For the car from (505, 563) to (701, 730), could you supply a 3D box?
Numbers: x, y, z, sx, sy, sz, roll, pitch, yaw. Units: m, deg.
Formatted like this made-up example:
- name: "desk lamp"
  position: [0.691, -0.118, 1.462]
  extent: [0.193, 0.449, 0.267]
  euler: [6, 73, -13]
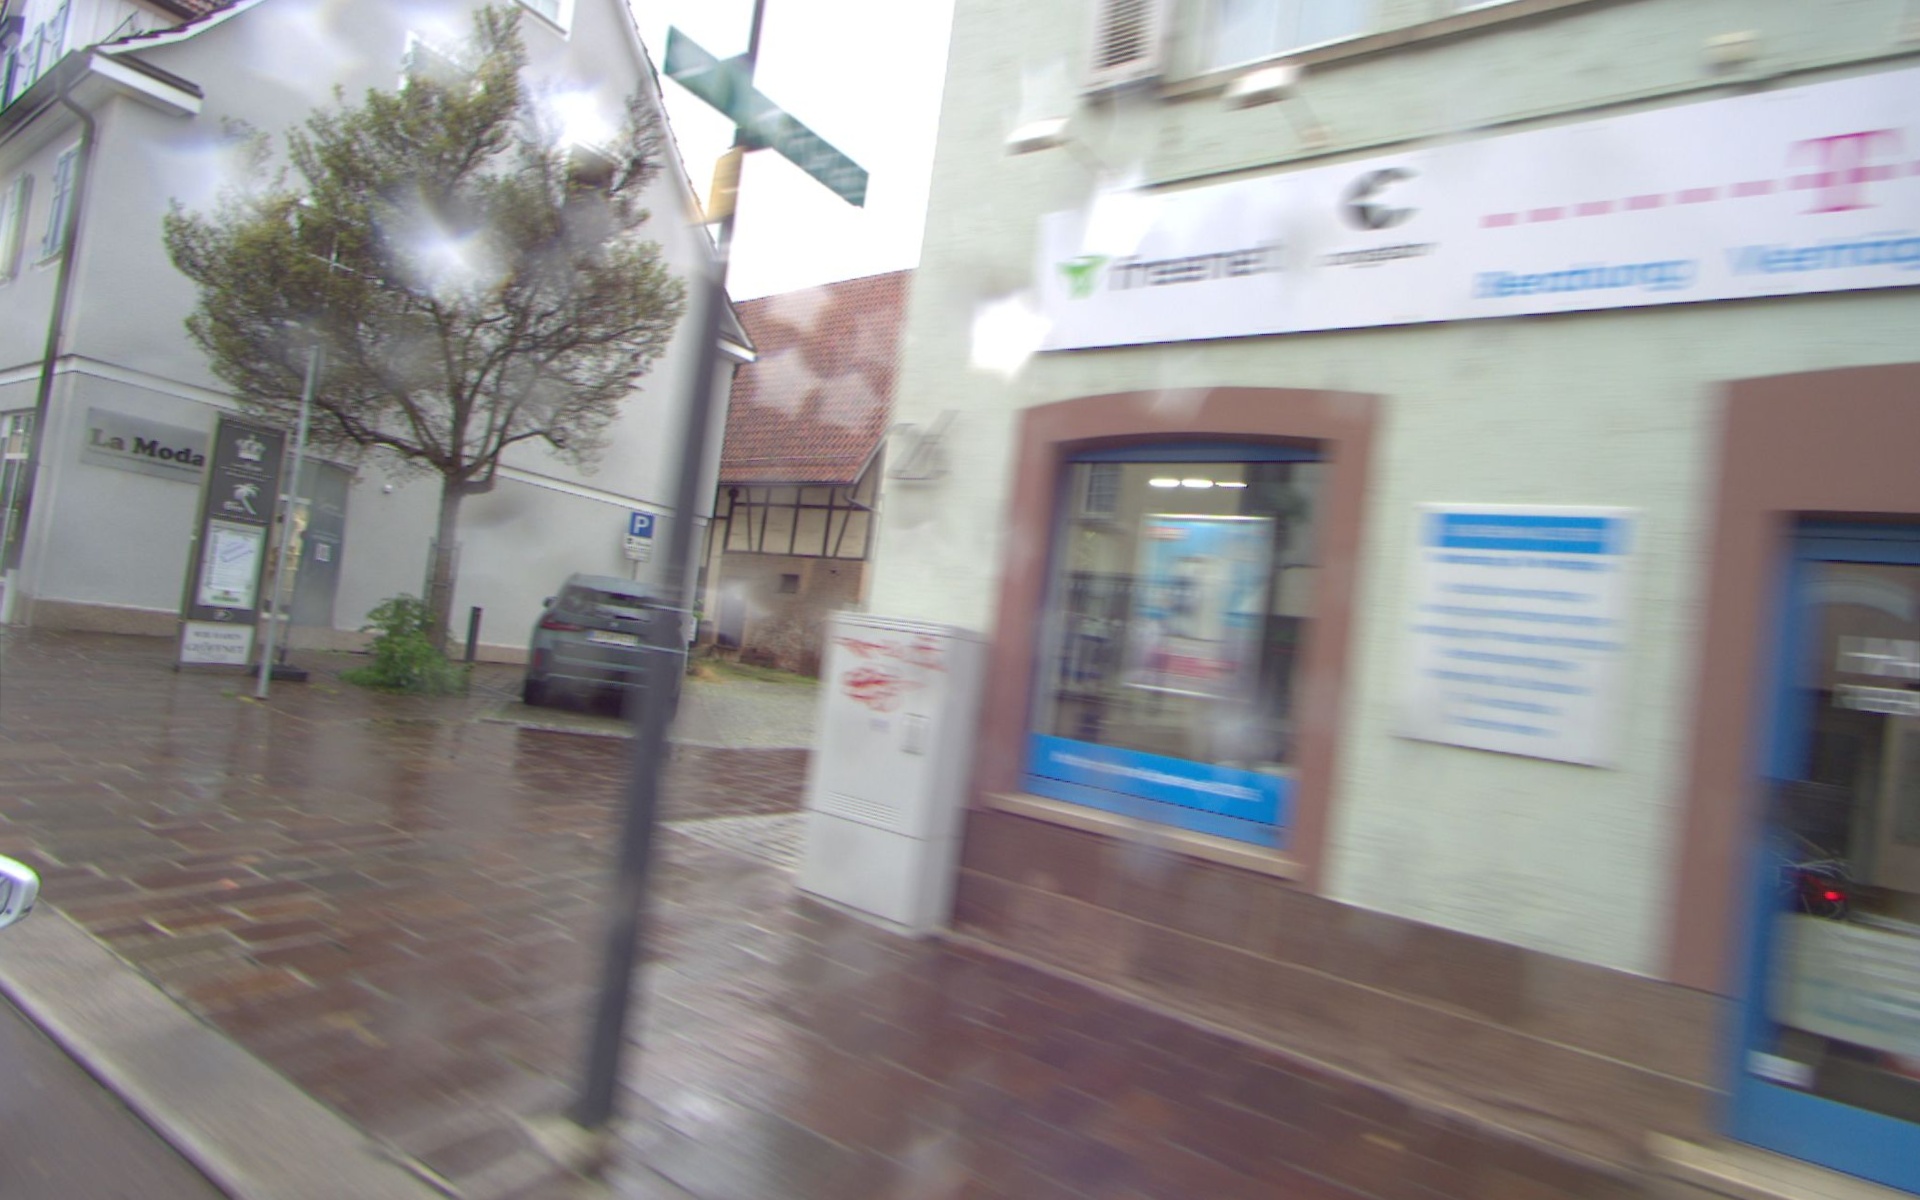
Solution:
- name: "car"
  position: [-4.739, 0.514, 13.284]
  extent: [1.864, 1.617, 4.372]
  euler: [9, -2, -21]
